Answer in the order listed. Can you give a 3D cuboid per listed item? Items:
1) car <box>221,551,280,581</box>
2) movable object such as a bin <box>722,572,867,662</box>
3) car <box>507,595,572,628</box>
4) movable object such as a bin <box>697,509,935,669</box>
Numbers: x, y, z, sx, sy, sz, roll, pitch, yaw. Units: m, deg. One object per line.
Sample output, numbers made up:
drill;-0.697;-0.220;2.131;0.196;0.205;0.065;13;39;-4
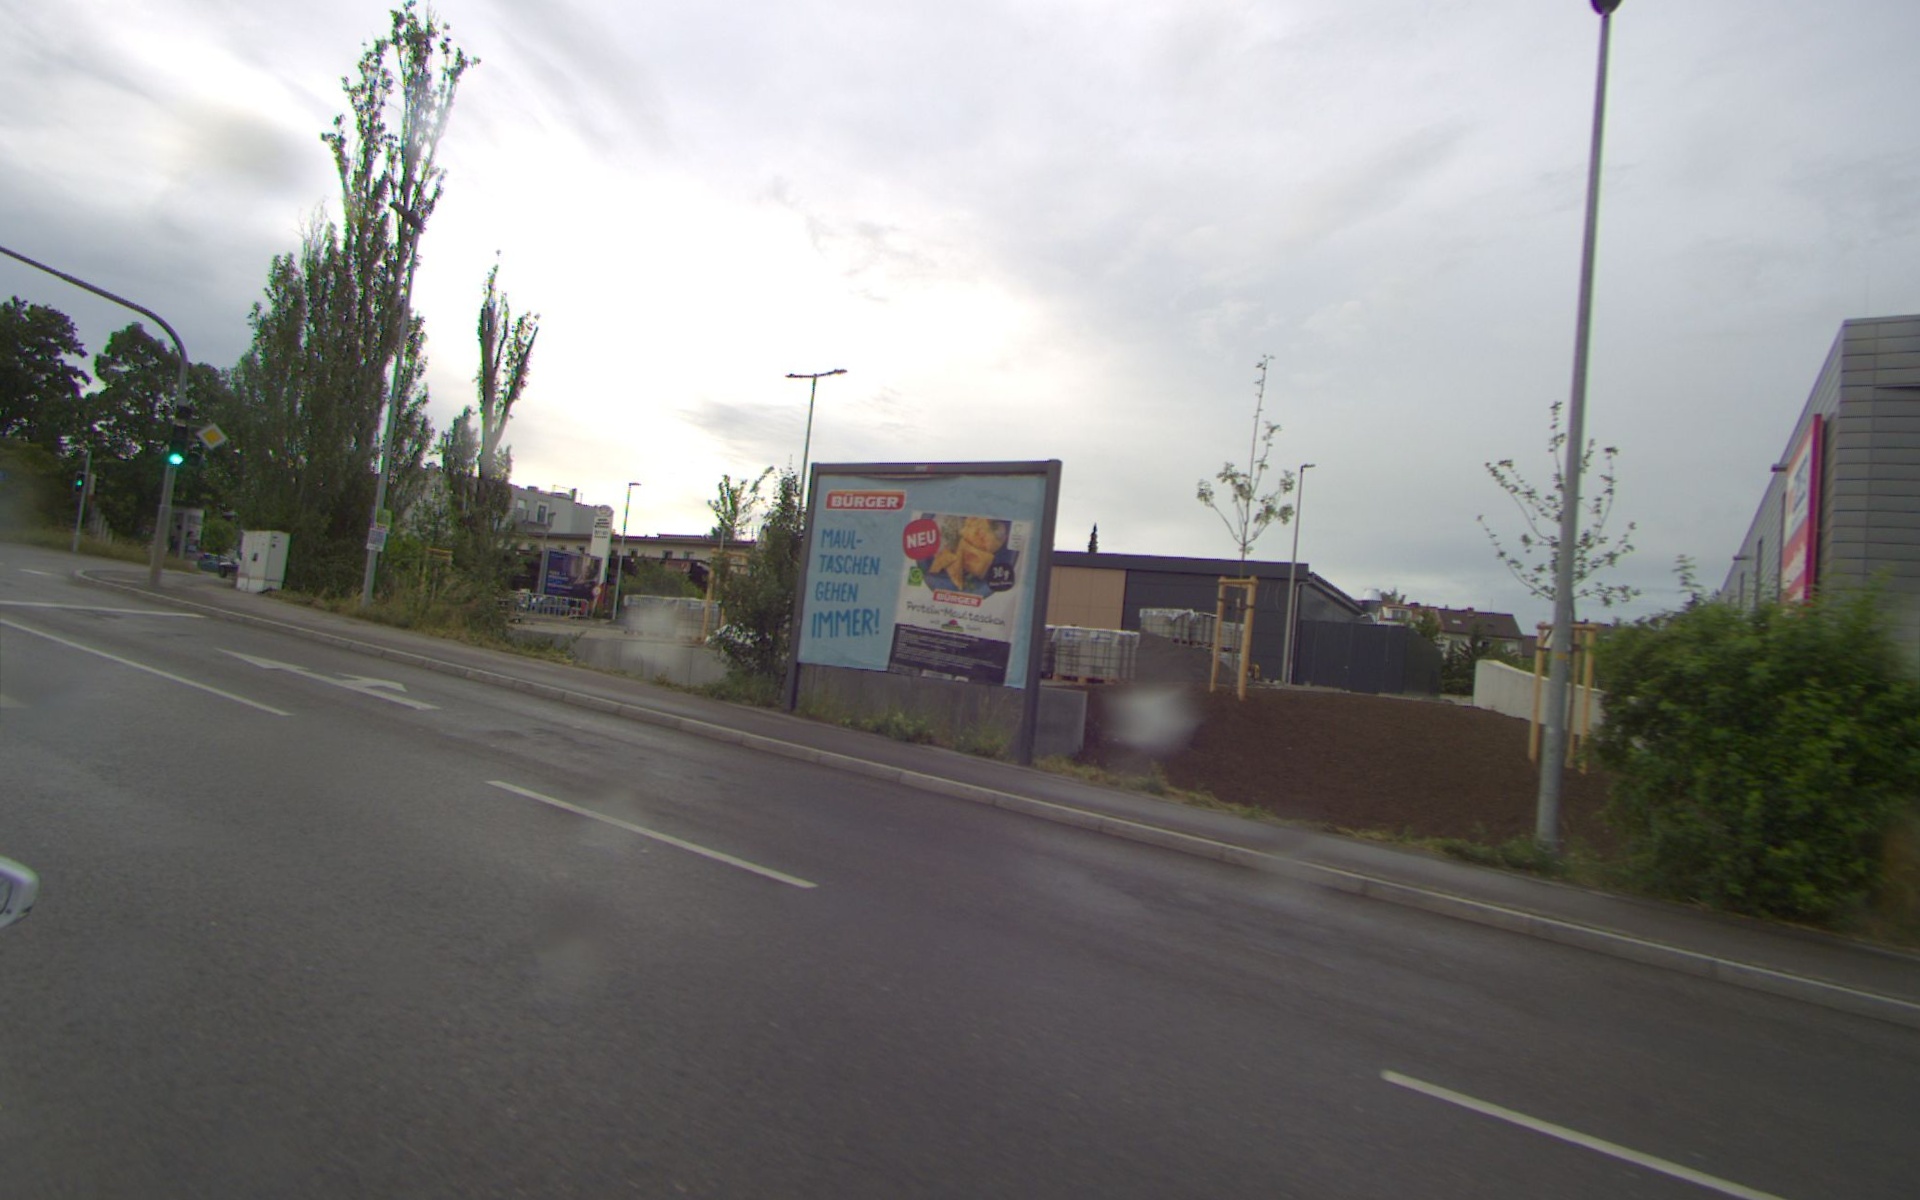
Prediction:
car;-50.072;-2.371;70.971;4.074;1.602;1.783;5;-5;31
movable object such as a bin;-6.368;0.691;38.961;4.943;2.647;1.882;11;-3;-37
car;-28.175;0.794;67.549;1.490;1.581;3.883;8;-3;24
movable object such as a bin;-3.759;-0.294;26.272;5.326;3.312;2.311;8;-2;24
